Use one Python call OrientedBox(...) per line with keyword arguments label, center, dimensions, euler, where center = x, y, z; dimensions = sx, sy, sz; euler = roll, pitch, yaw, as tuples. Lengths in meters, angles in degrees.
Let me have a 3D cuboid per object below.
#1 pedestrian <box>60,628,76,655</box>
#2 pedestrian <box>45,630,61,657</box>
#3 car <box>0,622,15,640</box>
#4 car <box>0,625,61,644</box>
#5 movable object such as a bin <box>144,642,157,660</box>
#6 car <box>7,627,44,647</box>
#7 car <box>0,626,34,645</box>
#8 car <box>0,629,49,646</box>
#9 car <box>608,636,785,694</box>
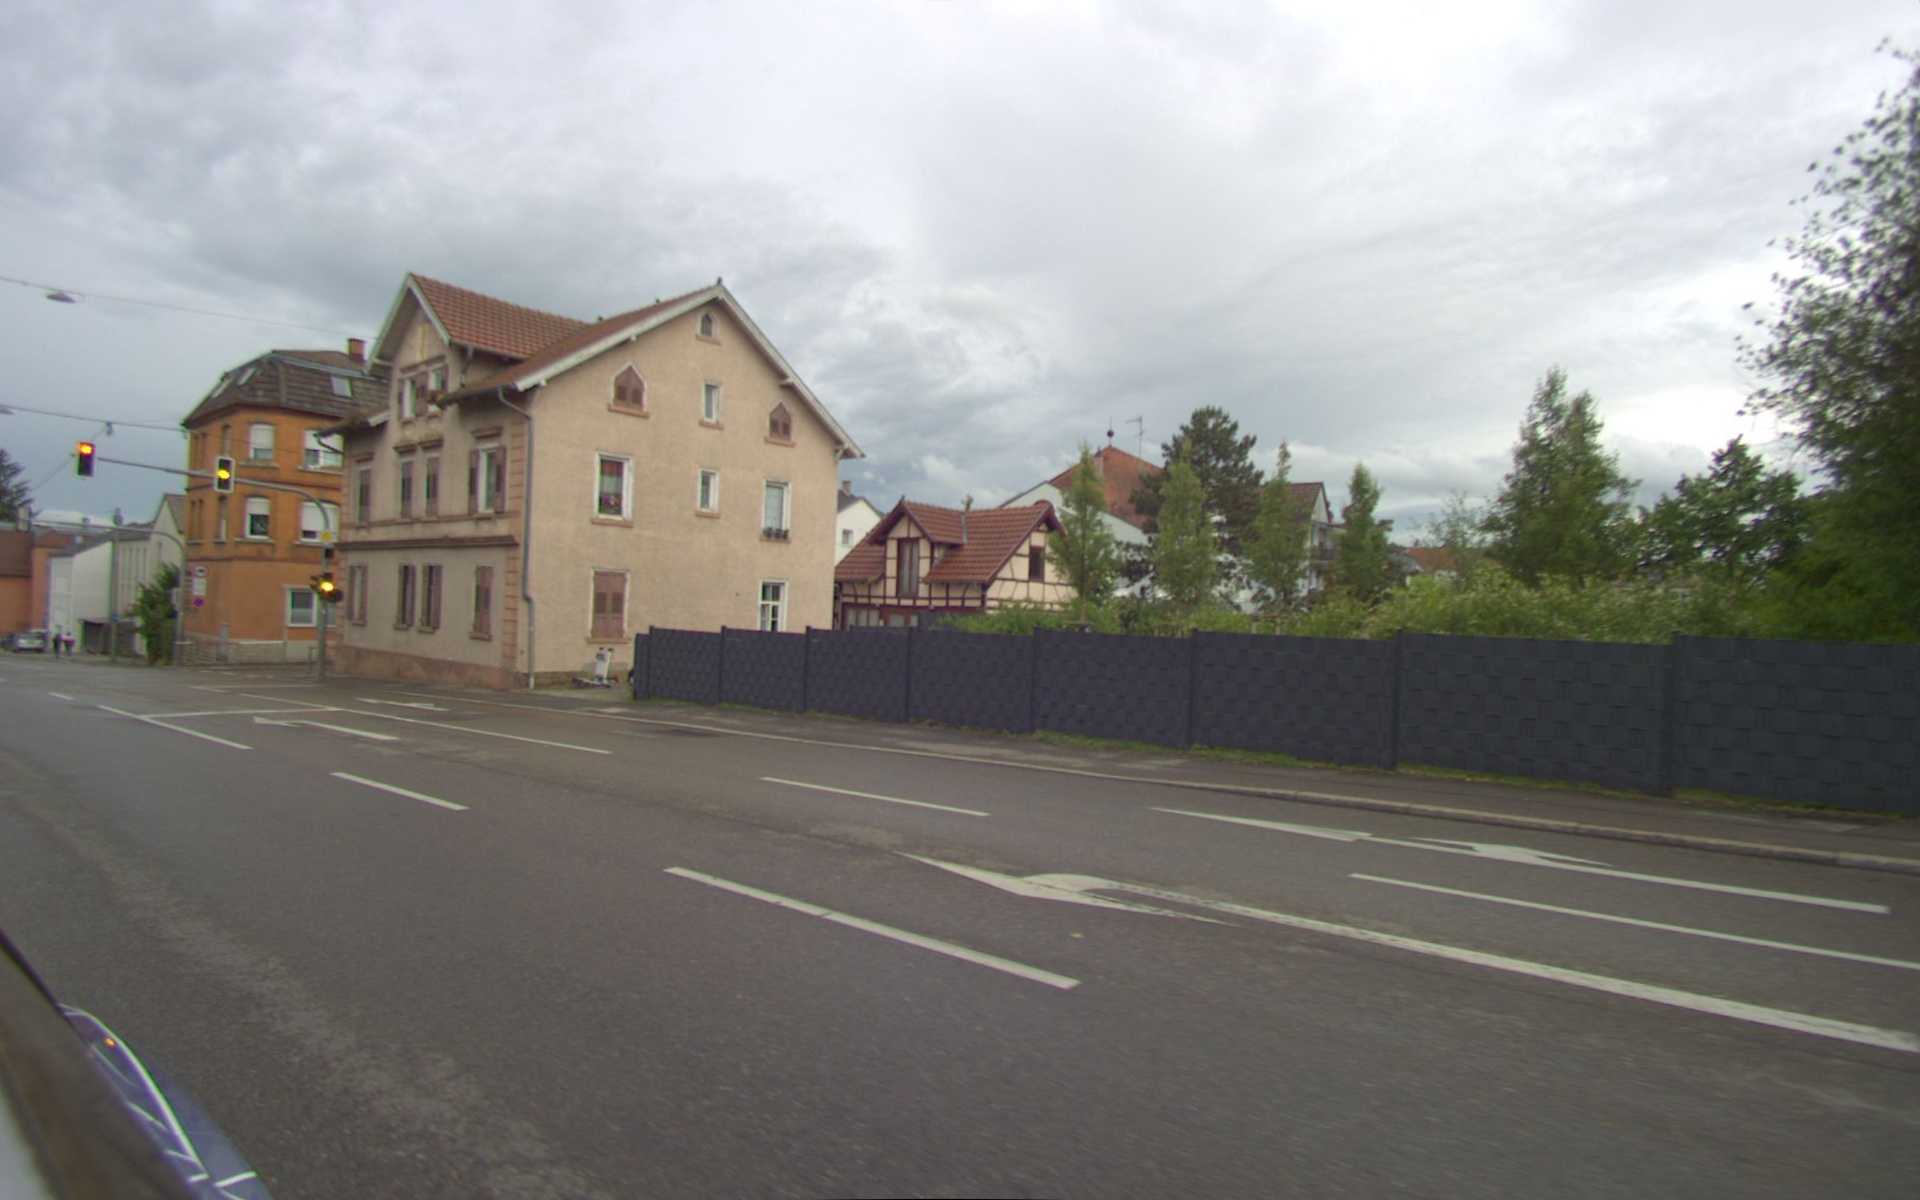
OrientedBox(label="pedestrian", center=(-57.582, 2.649, 65.305), dimensions=(0.911, 1.719, 0.633), euler=(-1, -2, 42))
OrientedBox(label="pedestrian", center=(-58.069, 2.771, 64.761), dimensions=(0.911, 1.719, 0.633), euler=(-1, -2, 42))
OrientedBox(label="car", center=(-110.061, 3.487, 114.940), dimensions=(3.938, 2.029, 2.003), euler=(1, -1, -42))
OrientedBox(label="car", center=(-88.026, 3.252, 95.557), dimensions=(2.153, 1.620, 4.482), euler=(-1, 0, 43))
OrientedBox(label="movable object such as a bin", center=(-42.973, 2.693, 53.735), dimensions=(0.525, 0.932, 0.405), euler=(0, -1, 35))
OrientedBox(label="car", center=(-74.550, 2.958, 80.700), dimensions=(4.176, 1.519, 1.726), euler=(-1, -2, 41))
OrientedBox(label="car", center=(-79.993, 2.979, 85.669), dimensions=(4.077, 1.564, 1.729), euler=(-1, 0, 37))
OrientedBox(label="car", center=(-90.164, 3.583, 96.946), dimensions=(2.000, 1.444, 4.116), euler=(-1, 0, 43))
OrientedBox(label="car", center=(-6.145, 1.487, 23.986), dimensions=(1.604, 1.172, 3.950), euler=(0, -1, 37))
